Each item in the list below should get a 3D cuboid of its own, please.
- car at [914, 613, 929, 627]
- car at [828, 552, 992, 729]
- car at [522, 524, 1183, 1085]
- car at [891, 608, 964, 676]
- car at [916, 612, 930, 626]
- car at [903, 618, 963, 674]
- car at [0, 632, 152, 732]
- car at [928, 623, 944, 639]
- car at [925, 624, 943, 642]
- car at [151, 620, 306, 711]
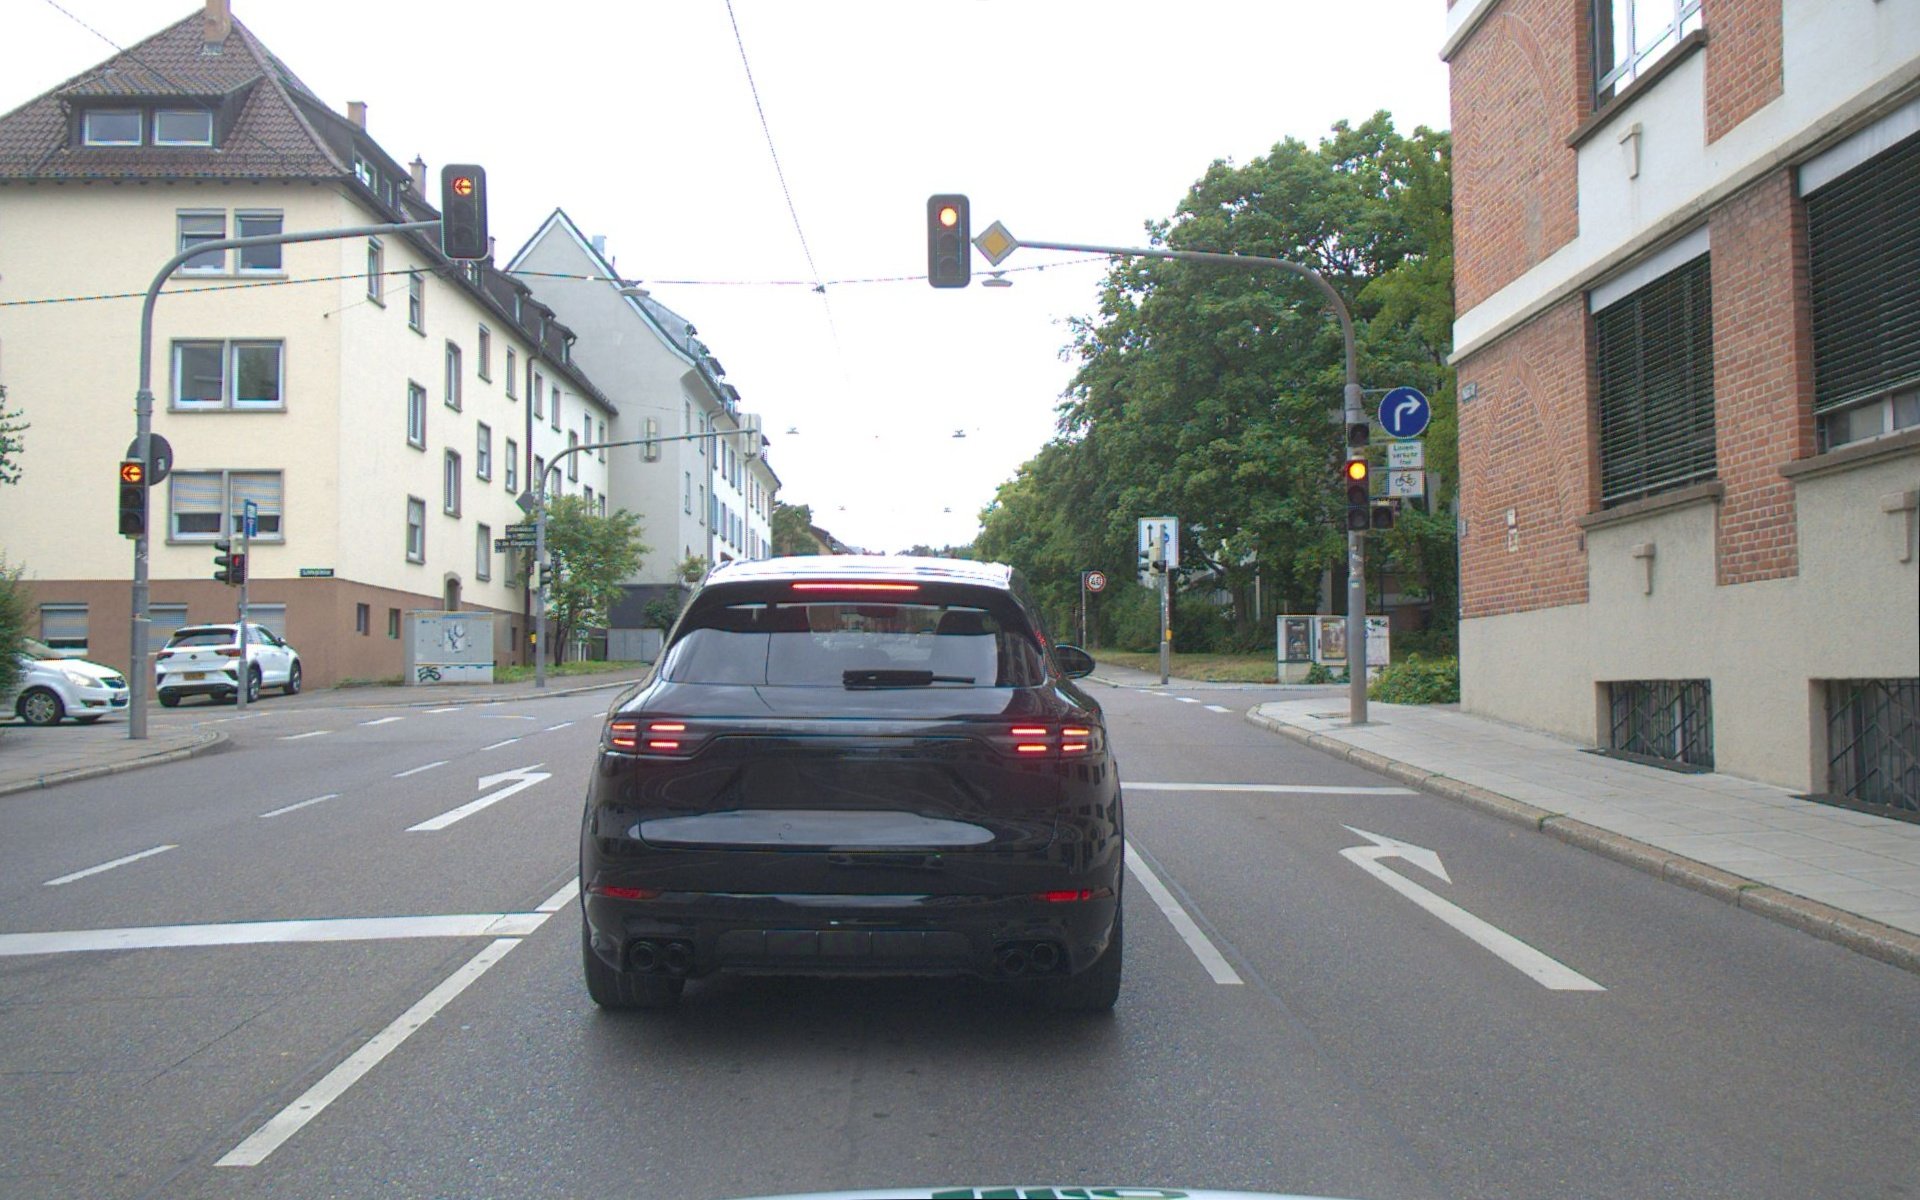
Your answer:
[{"bbox_3d":[-4.749,2.454,202.836,1.790,1.633,4.134,1,0,-1],"label":"car"},{"bbox_3d":[-0.615,0.480,21.882,1.925,2.078,4.134,1,0,-1],"label":"car"},{"bbox_3d":[-0.348,0.627,7.236,2.007,1.695,4.266,1,0,-1],"label":"car"},{"bbox_3d":[-0.840,1.077,43.794,1.790,1.633,4.134,1,0,-1],"label":"car"},{"bbox_3d":[-4.678,2.403,210.163,1.790,1.633,4.134,1,0,-1],"label":"car"},{"bbox_3d":[-0.847,1.430,52.506,1.790,1.633,3.858,1,0,-1],"label":"car"},{"bbox_3d":[-14.878,1.266,25.480,3.976,1.417,1.695,-1,0,-5],"label":"car"},{"bbox_3d":[-2.626,3.433,182.393,1.790,1.633,4.134,1,0,-1],"label":"car"},{"bbox_3d":[-2.551,3.269,163.221,1.790,1.633,4.134,1,0,-1],"label":"car"},{"bbox_3d":[-14.722,1.274,33.485,1.658,1.582,3.762,-3,0,-5],"label":"car"}]
